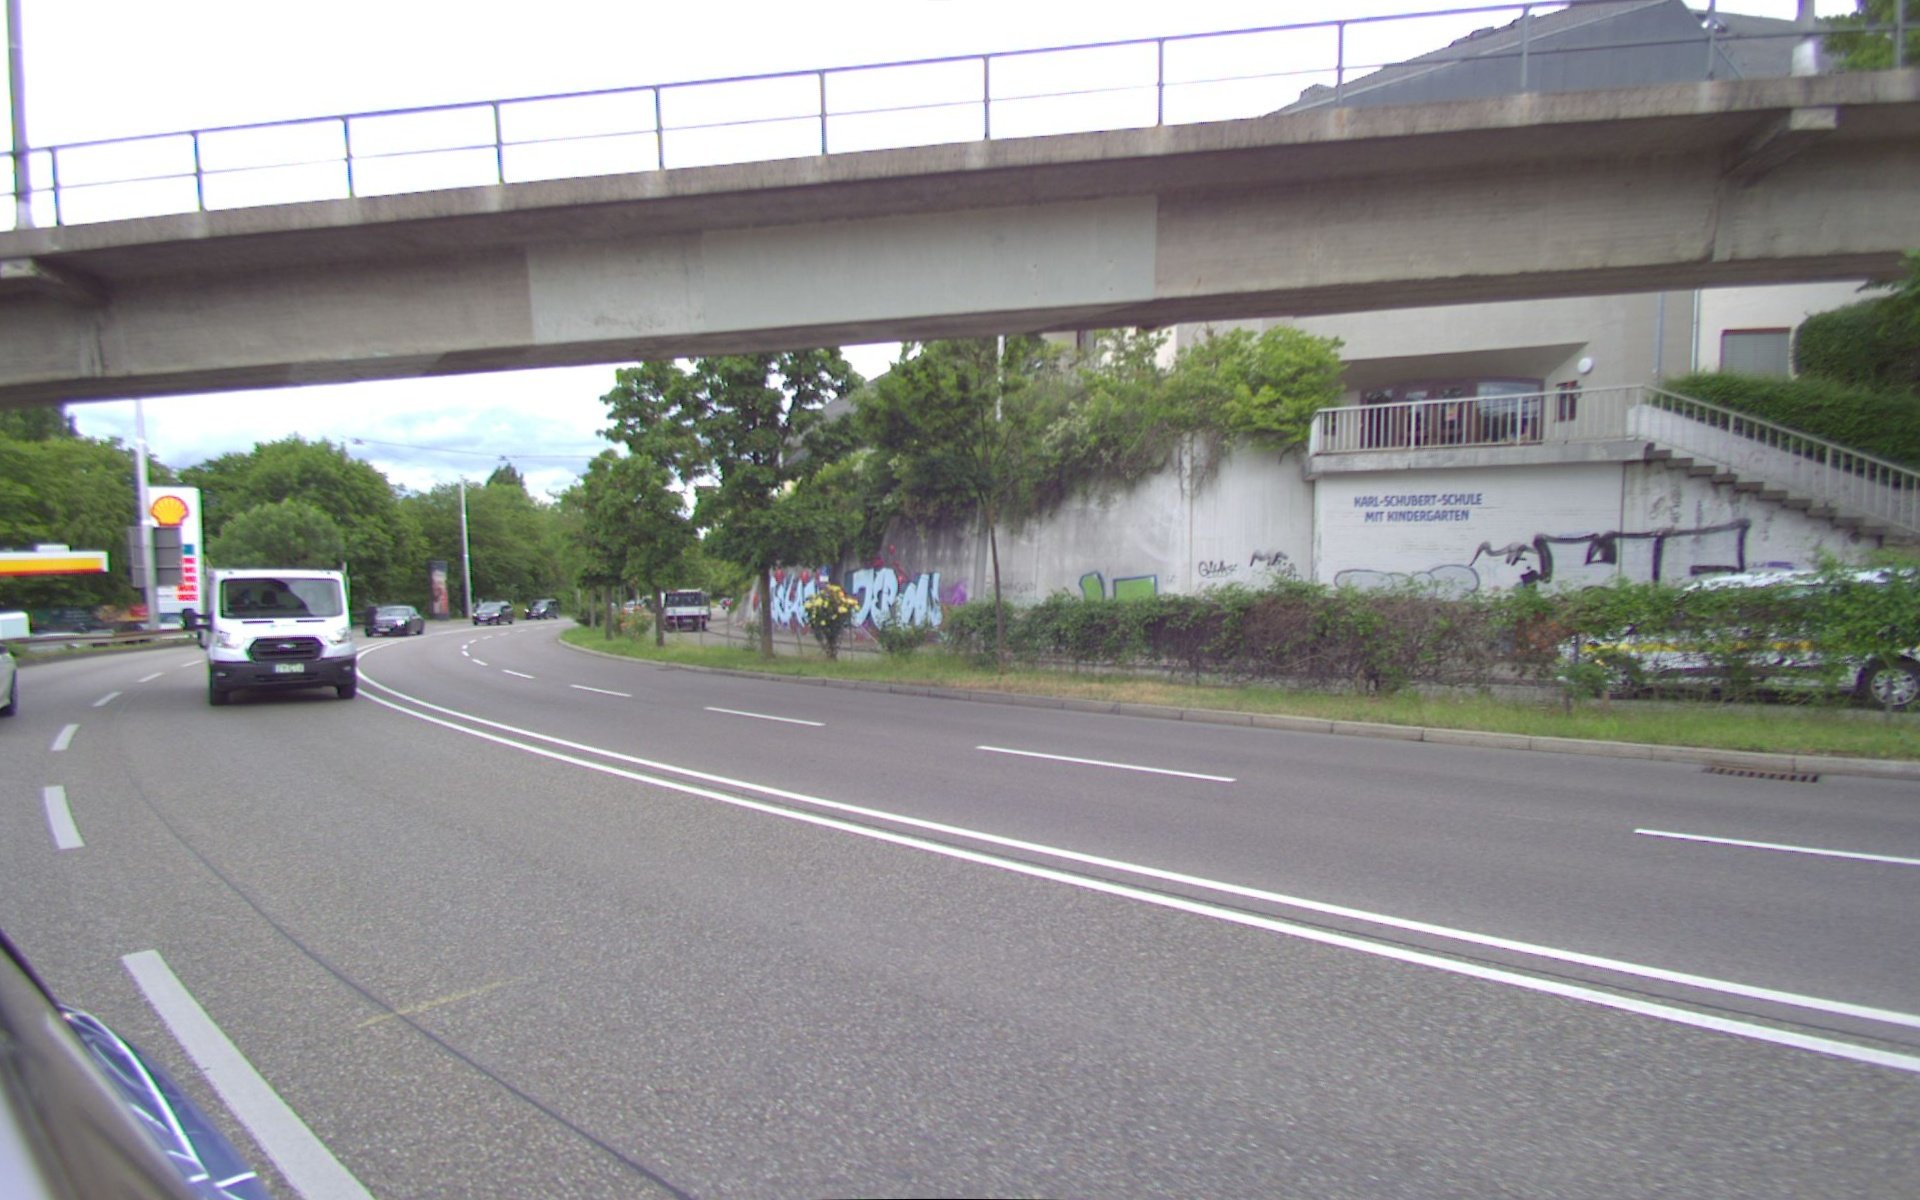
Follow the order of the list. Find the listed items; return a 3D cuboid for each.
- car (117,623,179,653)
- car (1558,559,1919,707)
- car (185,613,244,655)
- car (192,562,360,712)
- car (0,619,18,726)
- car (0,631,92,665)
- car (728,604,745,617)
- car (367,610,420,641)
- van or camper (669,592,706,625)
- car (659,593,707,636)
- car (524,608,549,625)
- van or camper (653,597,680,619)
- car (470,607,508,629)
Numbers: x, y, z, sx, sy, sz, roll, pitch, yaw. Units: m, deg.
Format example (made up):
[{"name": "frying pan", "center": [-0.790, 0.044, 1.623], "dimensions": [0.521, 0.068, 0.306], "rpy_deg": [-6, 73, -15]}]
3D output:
[{"name": "car", "center": [-49.664, 2.320, 61.870], "dimensions": [4.282, 1.437, 1.716], "rpy_deg": [2, 5, 34]}, {"name": "car", "center": [11.078, 0.445, 14.083], "dimensions": [4.465, 1.799, 1.747], "rpy_deg": [-2, -2, 43]}, {"name": "car", "center": [-28.065, 1.245, 38.063], "dimensions": [1.707, 1.421, 4.008], "rpy_deg": [-1, 0, -37]}, {"name": "car", "center": [-12.213, 0.598, 17.843], "dimensions": [1.968, 2.190, 6.280], "rpy_deg": [0, -1, -39]}, {"name": "car", "center": [-13.108, 0.970, 12.482], "dimensions": [1.793, 1.357, 4.009], "rpy_deg": [1, 0, -38]}, {"name": "car", "center": [-49.466, 2.534, 54.164], "dimensions": [1.594, 1.442, 4.255], "rpy_deg": [2, 3, 27]}, {"name": "car", "center": [-26.808, 1.258, 121.681], "dimensions": [1.652, 1.439, 4.426], "rpy_deg": [2, -1, -9]}, {"name": "car", "center": [-27.947, 1.226, 50.007], "dimensions": [1.708, 1.422, 4.013], "rpy_deg": [-2, 0, -21]}, {"name": "van or camper", "center": [-21.320, 0.678, 79.401], "dimensions": [1.969, 2.491, 5.717], "rpy_deg": [0, 0, -6]}, {"name": "car", "center": [-15.724, 0.764, 57.276], "dimensions": [2.236, 2.290, 6.347], "rpy_deg": [0, 0, -19]}, {"name": "car", "center": [-39.385, 1.495, 94.203], "dimensions": [1.701, 1.489, 4.012], "rpy_deg": [-2, 0, -16]}, {"name": "van or camper", "center": [-31.393, 0.869, 108.341], "dimensions": [1.983, 2.278, 5.973], "rpy_deg": [0, -1, -8]}, {"name": "car", "center": [-33.603, 1.277, 72.249], "dimensions": [1.702, 1.489, 4.011], "rpy_deg": [-2, 0, -15]}]
